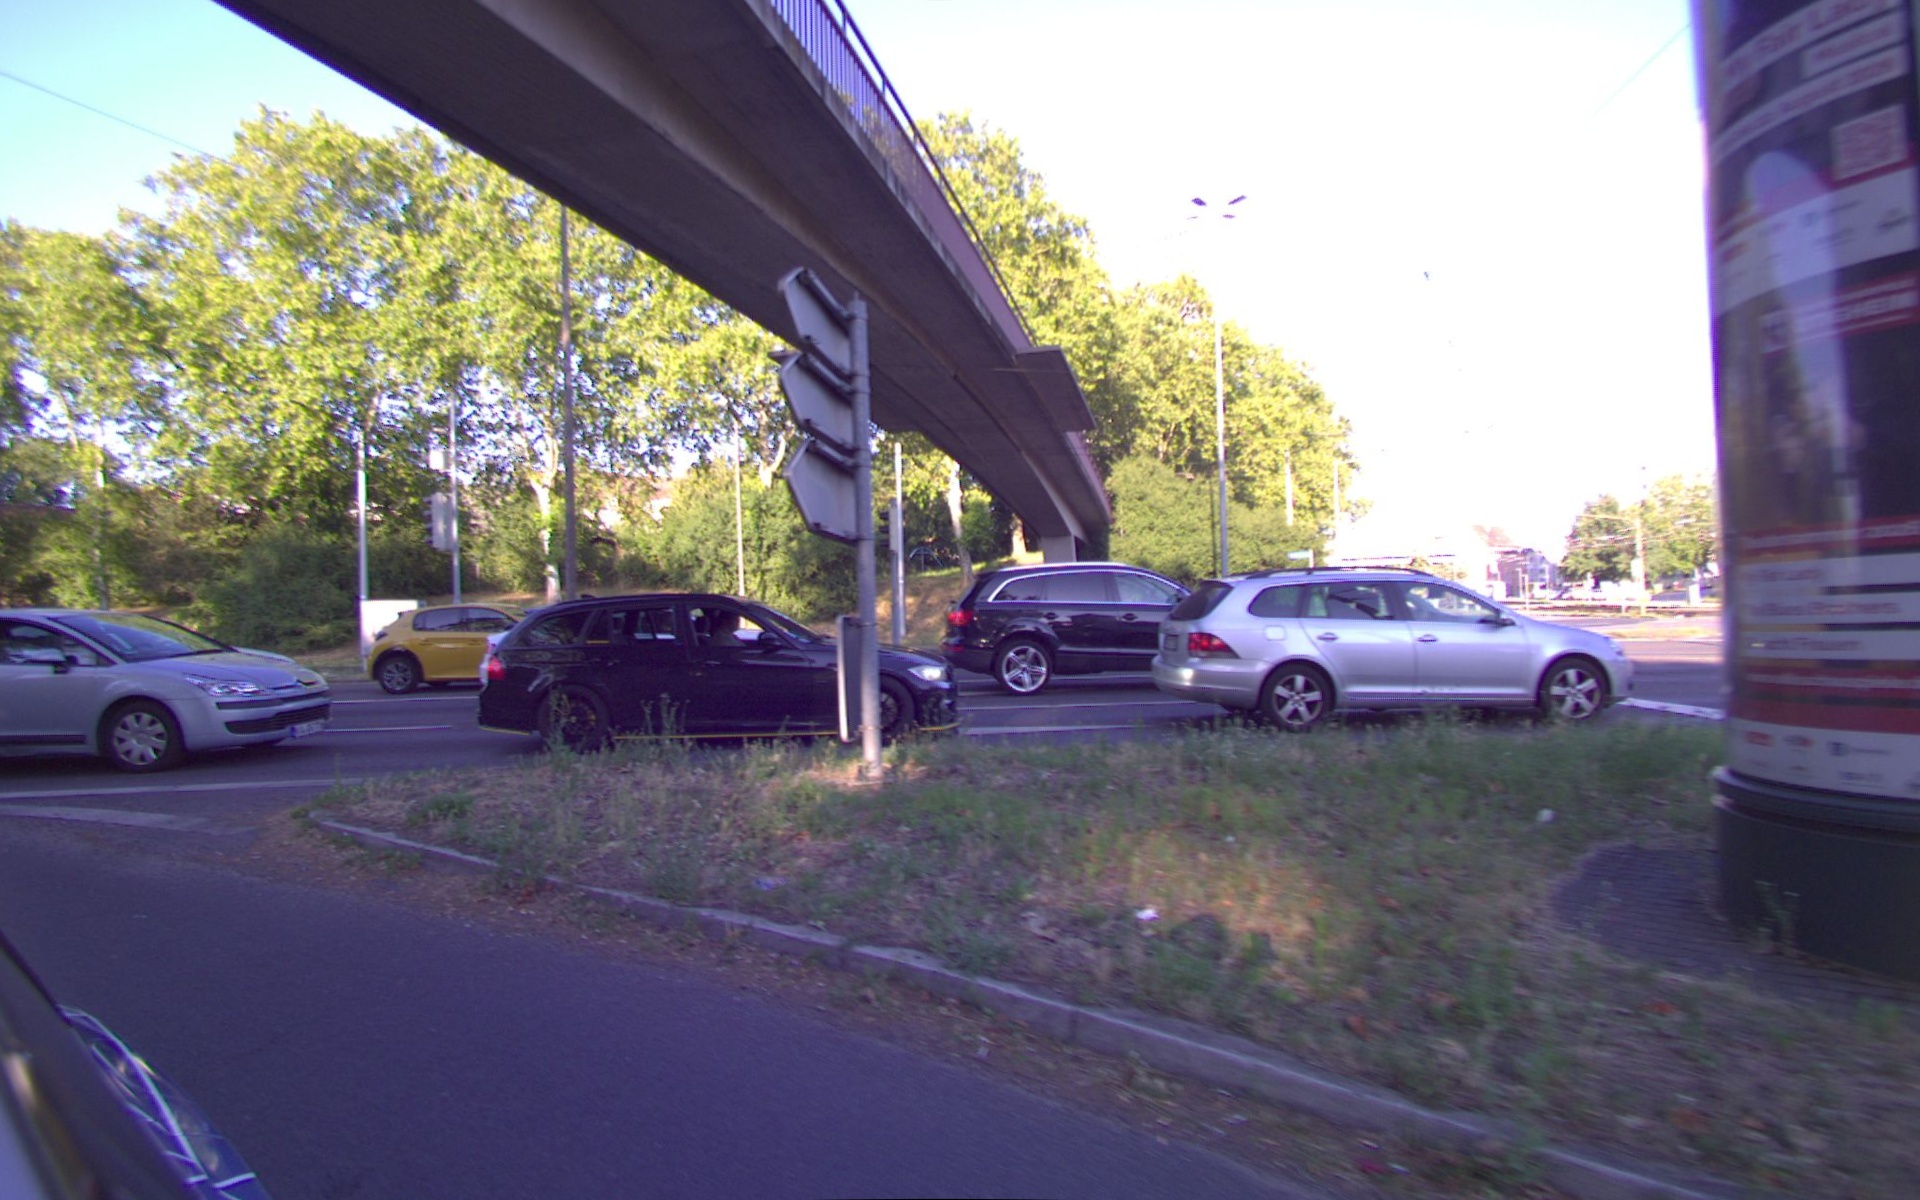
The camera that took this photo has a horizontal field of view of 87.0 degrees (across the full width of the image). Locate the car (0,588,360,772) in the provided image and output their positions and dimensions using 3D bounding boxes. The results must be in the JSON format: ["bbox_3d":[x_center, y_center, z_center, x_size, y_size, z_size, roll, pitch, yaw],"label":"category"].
[{"bbox_3d":[-8.137,0.760,9.502,3.941,1.493,1.799,-2,-3,-3],"label":"car"}]

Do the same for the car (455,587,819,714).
[{"bbox_3d":[-4.168,0.628,13.607,4.346,1.443,1.748,-2,0,-3],"label":"car"}]

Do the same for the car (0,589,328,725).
[{"bbox_3d":[-10.914,0.766,13.327,4.128,1.577,1.669,-2,-3,-3],"label":"car"}]

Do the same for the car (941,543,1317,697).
[{"bbox_3d":[2.155,0.255,13.864,4.759,1.805,1.798,-2,0,0],"label":"car"}]

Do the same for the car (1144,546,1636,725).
[{"bbox_3d":[3.994,0.352,9.882,3.941,1.453,1.799,-2,-3,-3],"label":"car"}]

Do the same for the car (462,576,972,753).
[{"bbox_3d":[-2.175,0.610,9.792,4.410,1.393,1.799,-2,-3,-3],"label":"car"}]

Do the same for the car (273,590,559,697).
[{"bbox_3d":[-9.071,0.746,17.123,3.941,1.577,1.669,-2,-3,-3],"label":"car"}]
